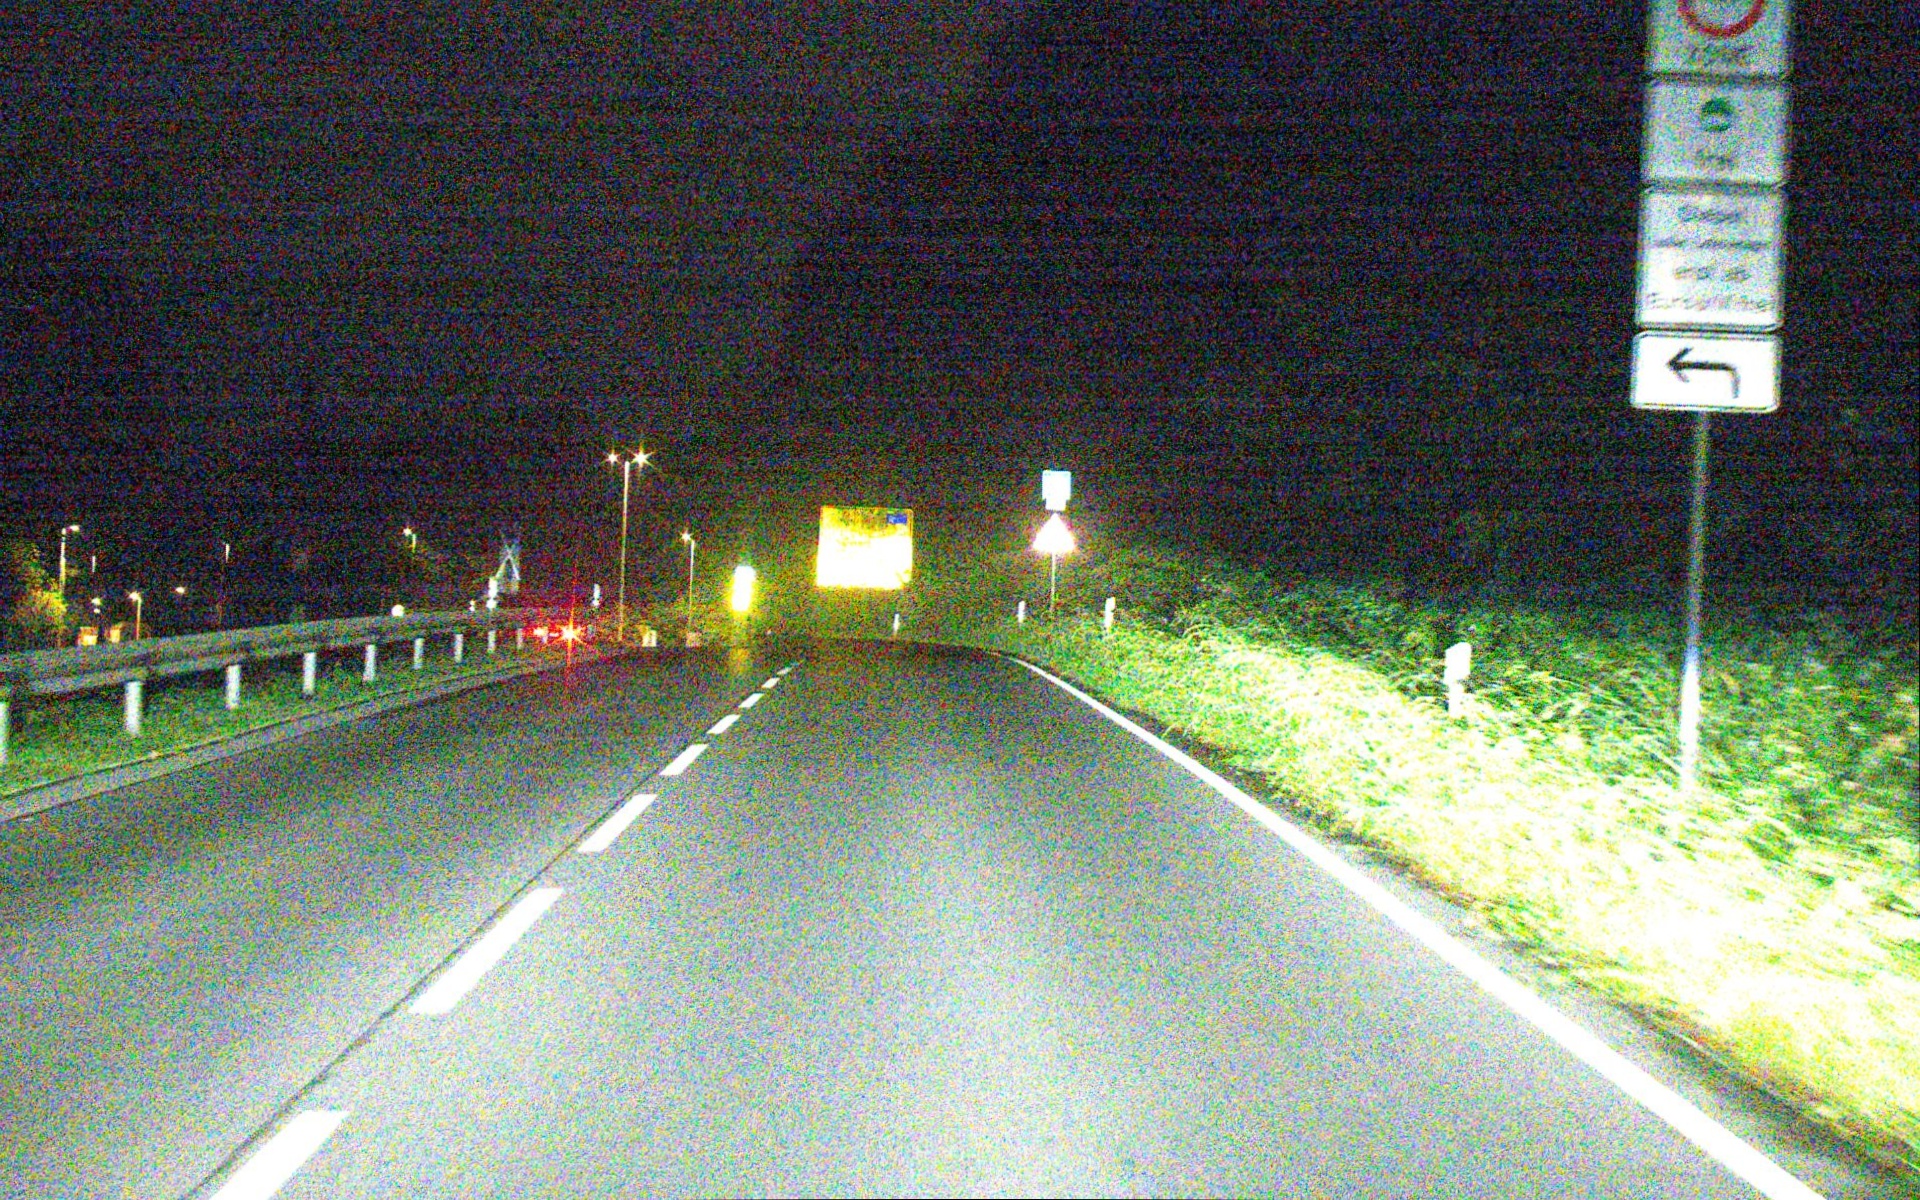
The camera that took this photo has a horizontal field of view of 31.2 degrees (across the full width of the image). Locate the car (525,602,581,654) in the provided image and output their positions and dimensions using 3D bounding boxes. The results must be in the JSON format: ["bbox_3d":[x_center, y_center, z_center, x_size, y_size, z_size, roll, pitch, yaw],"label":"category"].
[{"bbox_3d":[-17.332,1.212,146.241,1.993,2.007,4.001,4,-2,-10],"label":"car"}]
